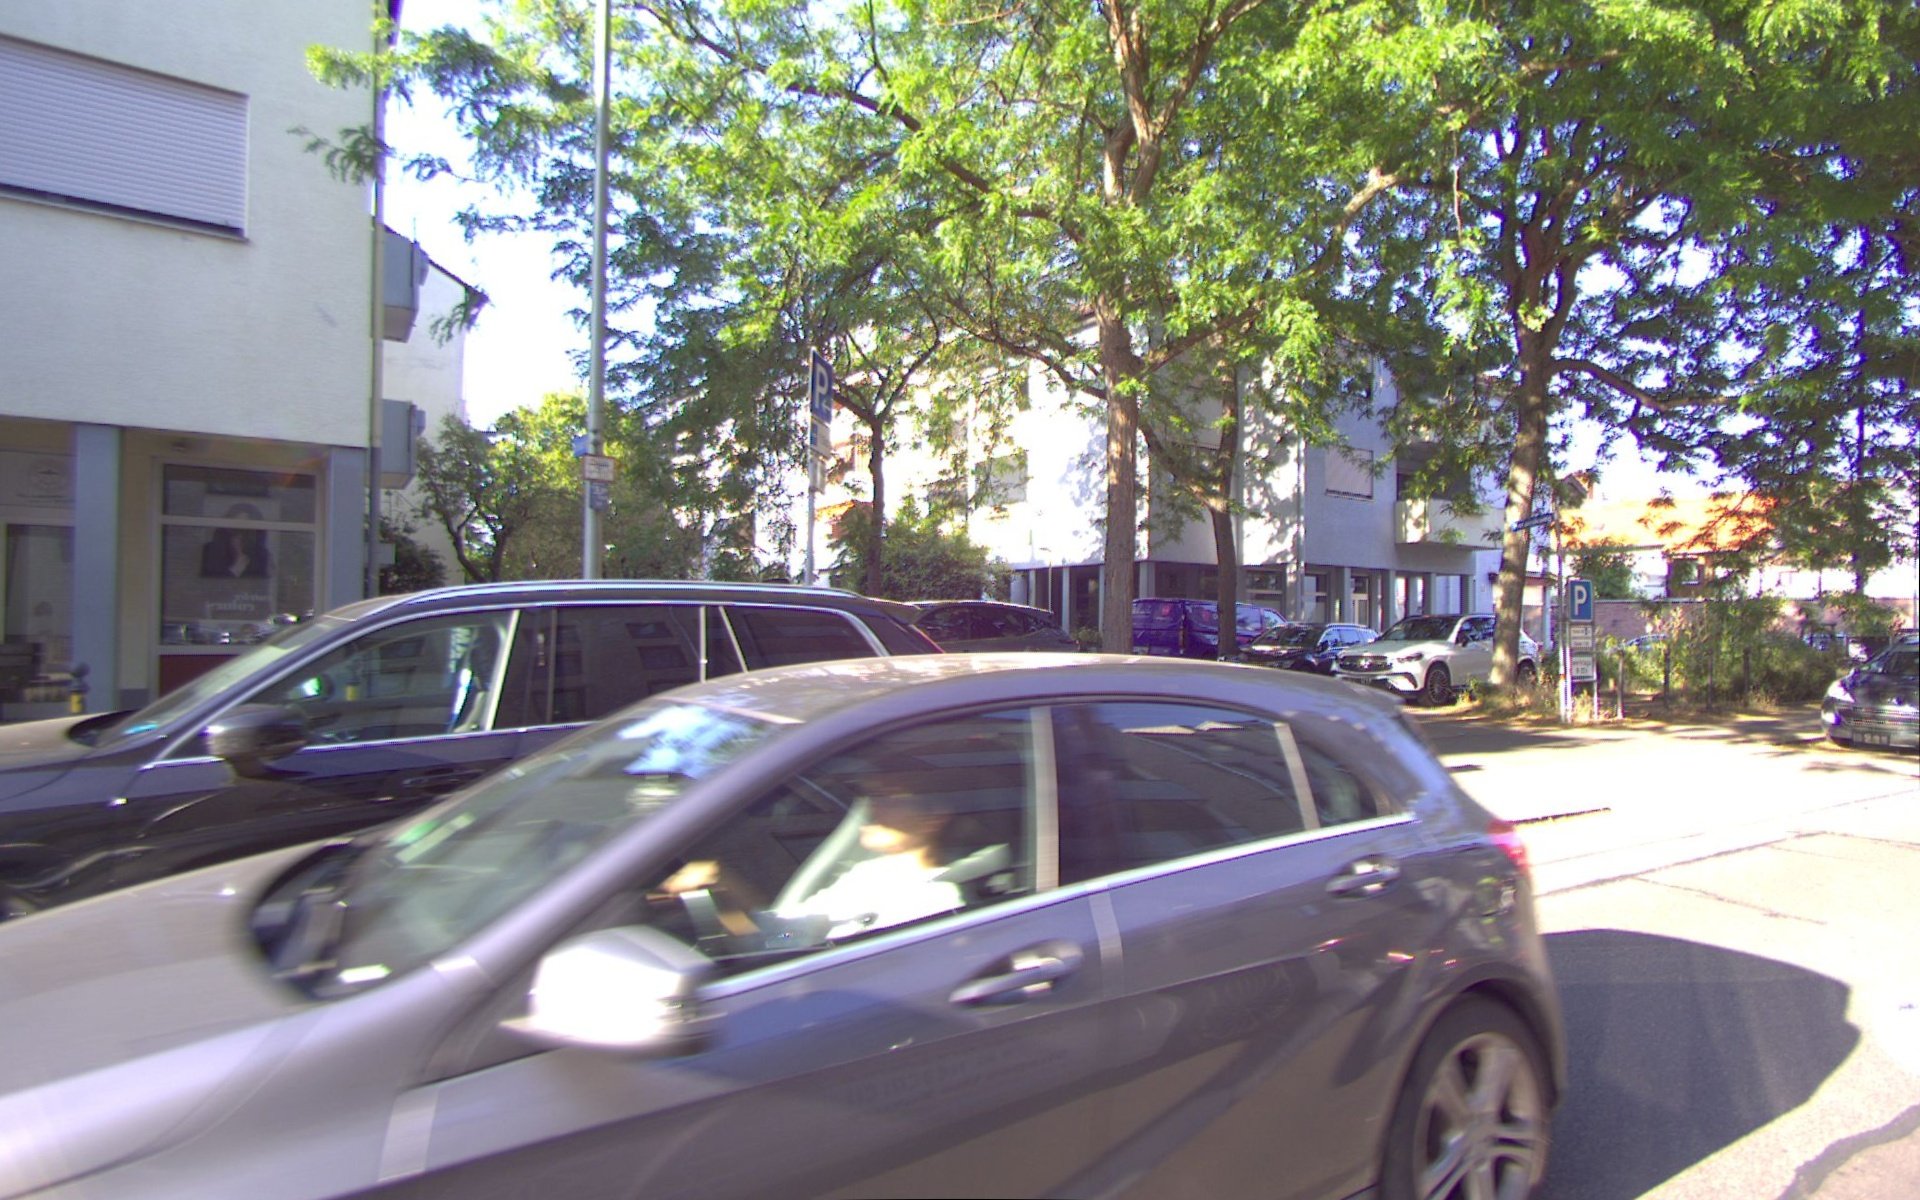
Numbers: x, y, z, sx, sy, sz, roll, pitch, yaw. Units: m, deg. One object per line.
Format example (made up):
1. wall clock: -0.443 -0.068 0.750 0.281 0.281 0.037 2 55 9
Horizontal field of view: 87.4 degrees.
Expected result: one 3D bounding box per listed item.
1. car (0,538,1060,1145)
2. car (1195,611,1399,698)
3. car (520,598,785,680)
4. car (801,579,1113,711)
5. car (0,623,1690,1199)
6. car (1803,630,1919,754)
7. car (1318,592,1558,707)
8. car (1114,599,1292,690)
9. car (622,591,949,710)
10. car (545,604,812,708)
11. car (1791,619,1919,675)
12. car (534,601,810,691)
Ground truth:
1. car: -2.200 0.685 4.262 5.041 1.728 1.922 1 1 -31
2. car: 6.891 1.052 20.505 3.767 1.596 2.063 1 -1 -32
3. car: -6.516 0.821 21.489 5.126 1.580 1.929 1 -2 -31
4. car: -0.008 0.538 12.434 3.594 1.427 1.515 1 -2 -28
5. car: -0.172 0.816 2.382 3.957 1.486 1.797 1 -2 -33
6. car: 13.348 1.181 13.654 3.953 1.511 1.689 1 -2 -30
7. car: 9.050 0.855 18.874 4.853 1.920 1.832 1 -1 -33
8. car: 5.834 1.008 23.873 4.290 1.974 2.000 1 -1 -41
9. car: -2.377 0.685 14.343 4.390 1.460 1.565 2 -2 -37
10. car: -4.401 0.838 15.778 3.765 1.459 1.679 1 -2 -28
11. car: 32.335 1.627 35.490 1.975 1.518 3.978 -4 -7 -27
12. car: -5.531 0.853 19.500 4.780 1.495 1.982 1 1 -33
